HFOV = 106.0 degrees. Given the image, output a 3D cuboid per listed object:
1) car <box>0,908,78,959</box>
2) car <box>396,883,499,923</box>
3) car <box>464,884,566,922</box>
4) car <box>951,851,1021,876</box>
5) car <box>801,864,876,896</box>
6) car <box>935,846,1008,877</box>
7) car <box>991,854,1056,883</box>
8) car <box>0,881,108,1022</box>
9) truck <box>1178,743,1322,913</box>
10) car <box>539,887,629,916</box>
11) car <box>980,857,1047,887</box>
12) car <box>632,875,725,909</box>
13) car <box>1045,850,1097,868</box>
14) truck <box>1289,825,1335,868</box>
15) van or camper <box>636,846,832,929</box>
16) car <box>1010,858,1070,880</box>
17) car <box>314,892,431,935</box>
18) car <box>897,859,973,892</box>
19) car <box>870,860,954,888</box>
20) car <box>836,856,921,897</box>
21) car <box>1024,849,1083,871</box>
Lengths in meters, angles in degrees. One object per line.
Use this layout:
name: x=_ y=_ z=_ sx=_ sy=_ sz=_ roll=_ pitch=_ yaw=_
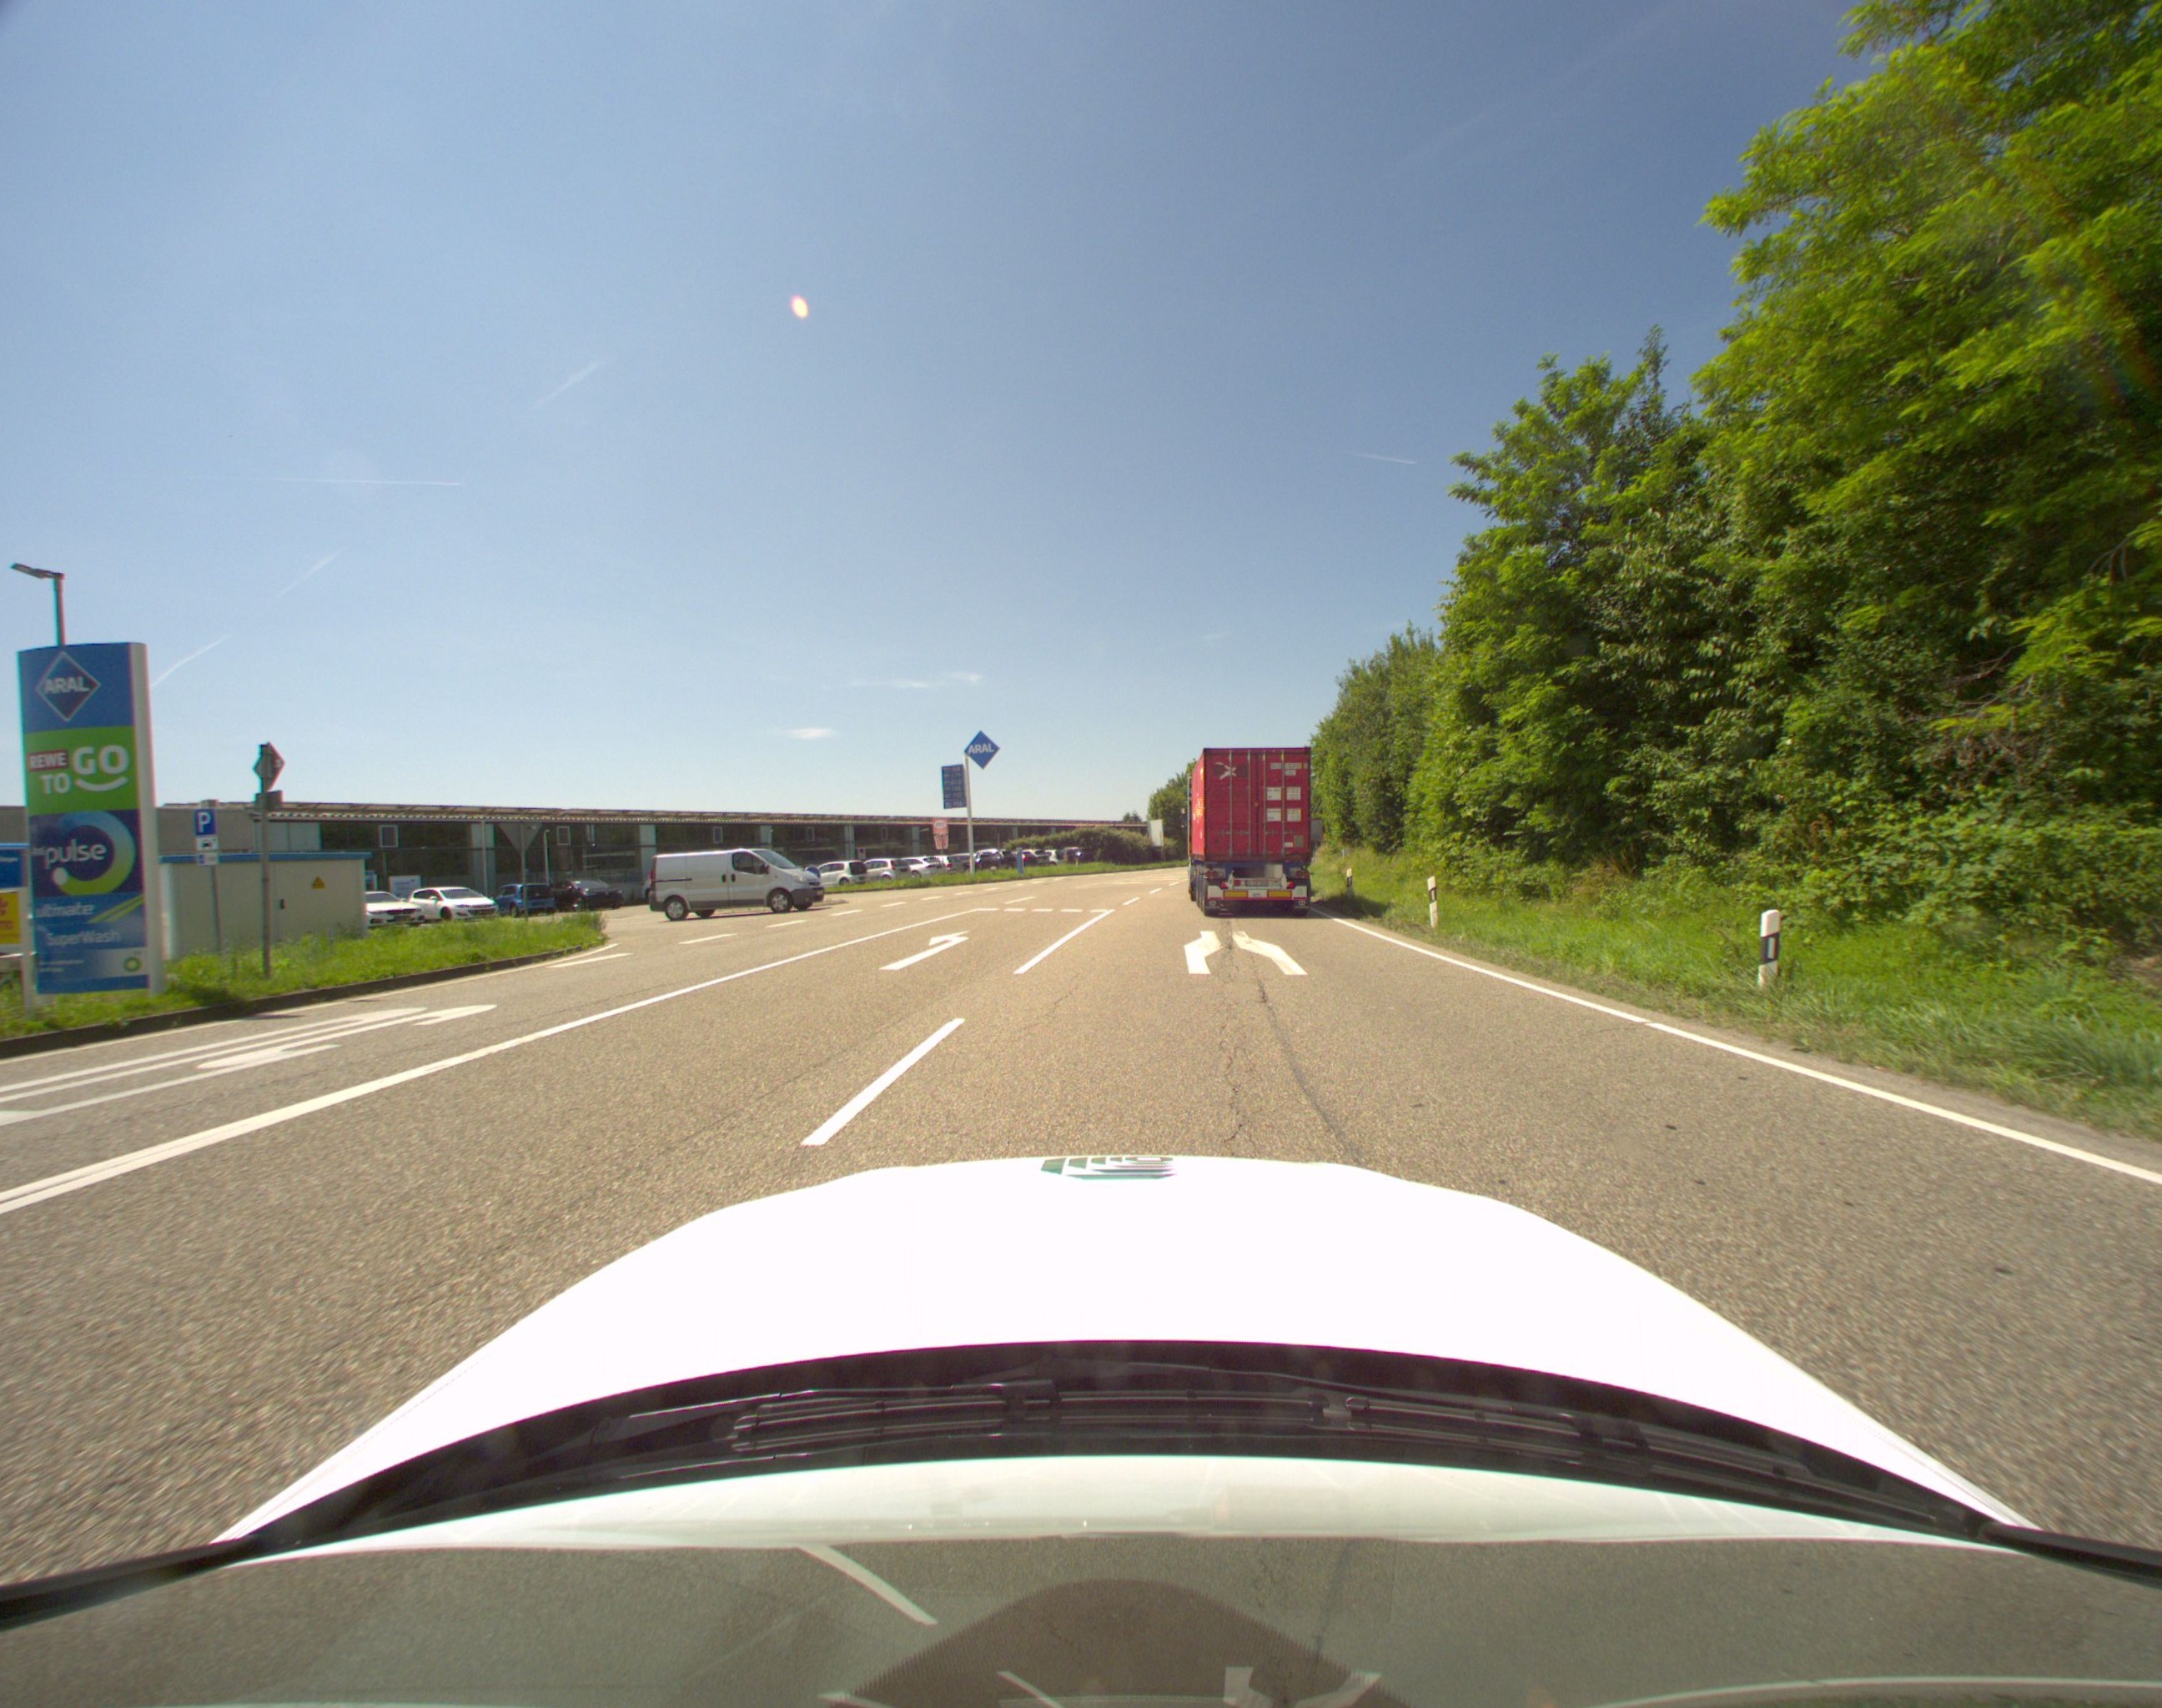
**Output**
car: x=-33.304 y=2.464 z=24.192 sx=1.895 sy=1.428 sz=4.128 roll=-3 pitch=-1 yaw=29
car: x=-26.417 y=2.059 z=33.978 sx=3.821 sy=1.496 sz=1.855 roll=-3 pitch=0 yaw=26
car: x=-25.433 y=2.209 z=36.594 sx=3.950 sy=1.530 sz=2.012 roll=-3 pitch=0 yaw=25
car: x=-6.047 y=0.612 z=51.848 sx=3.949 sy=1.332 sz=2.012 roll=-4 pitch=-1 yaw=27
car: x=-12.421 y=1.340 z=41.703 sx=3.411 sy=1.441 sz=1.572 roll=-3 pitch=-1 yaw=25
car: x=-6.714 y=0.477 z=49.780 sx=3.949 sy=1.750 sz=2.012 roll=-3 pitch=-2 yaw=27
car: x=-4.059 y=0.997 z=57.262 sx=3.949 sy=1.750 sz=2.012 roll=-4 pitch=-1 yaw=27
car: x=-14.877 y=1.245 z=9.340 sx=1.844 sy=1.712 sz=4.547 roll=-3 pitch=-2 yaw=32
truck: x=4.577 y=-0.562 z=24.917 sx=2.636 sy=3.806 sz=13.375 roll=0 pitch=0 yaw=4
car: x=-23.820 y=2.271 z=39.001 sx=3.950 sy=1.246 sz=1.780 roll=-3 pitch=0 yaw=26
car: x=-4.527 y=1.203 z=54.622 sx=3.949 sy=1.750 sz=2.012 roll=-4 pitch=-1 yaw=27
car: x=-21.600 y=2.063 z=43.693 sx=4.537 sy=1.503 sz=2.012 roll=-4 pitch=-1 yaw=25
car: x=-0.778 y=0.358 z=63.682 sx=3.662 sy=1.373 sz=1.814 roll=0 pitch=0 yaw=28
truck: x=22.838 y=-0.765 z=79.995 sx=2.896 sy=3.717 sz=13.430 roll=-3 pitch=0 yaw=21
van or camper: x=-10.225 y=0.949 z=24.233 sx=4.831 sy=1.904 sz=1.905 roll=-5 pitch=0 yaw=1
car: x=-2.996 y=1.088 z=59.532 sx=3.950 sy=1.317 sz=1.844 roll=-4 pitch=-1 yaw=25
car: x=-27.473 y=2.300 z=31.588 sx=3.950 sy=1.442 sz=2.012 roll=-3 pitch=0 yaw=26
car: x=-8.583 y=1.291 z=47.950 sx=3.949 sy=1.750 sz=1.946 roll=-3 pitch=0 yaw=27
car: x=-9.467 y=1.136 z=45.543 sx=4.198 sy=1.359 sz=2.012 roll=-3 pitch=0 yaw=25
car: x=-10.815 y=1.209 z=43.584 sx=3.950 sy=2.013 sz=2.012 roll=-3 pitch=0 yaw=25
car: x=-2.075 y=0.465 z=61.502 sx=3.951 sy=1.362 sz=1.831 roll=-4 pitch=-1 yaw=24
